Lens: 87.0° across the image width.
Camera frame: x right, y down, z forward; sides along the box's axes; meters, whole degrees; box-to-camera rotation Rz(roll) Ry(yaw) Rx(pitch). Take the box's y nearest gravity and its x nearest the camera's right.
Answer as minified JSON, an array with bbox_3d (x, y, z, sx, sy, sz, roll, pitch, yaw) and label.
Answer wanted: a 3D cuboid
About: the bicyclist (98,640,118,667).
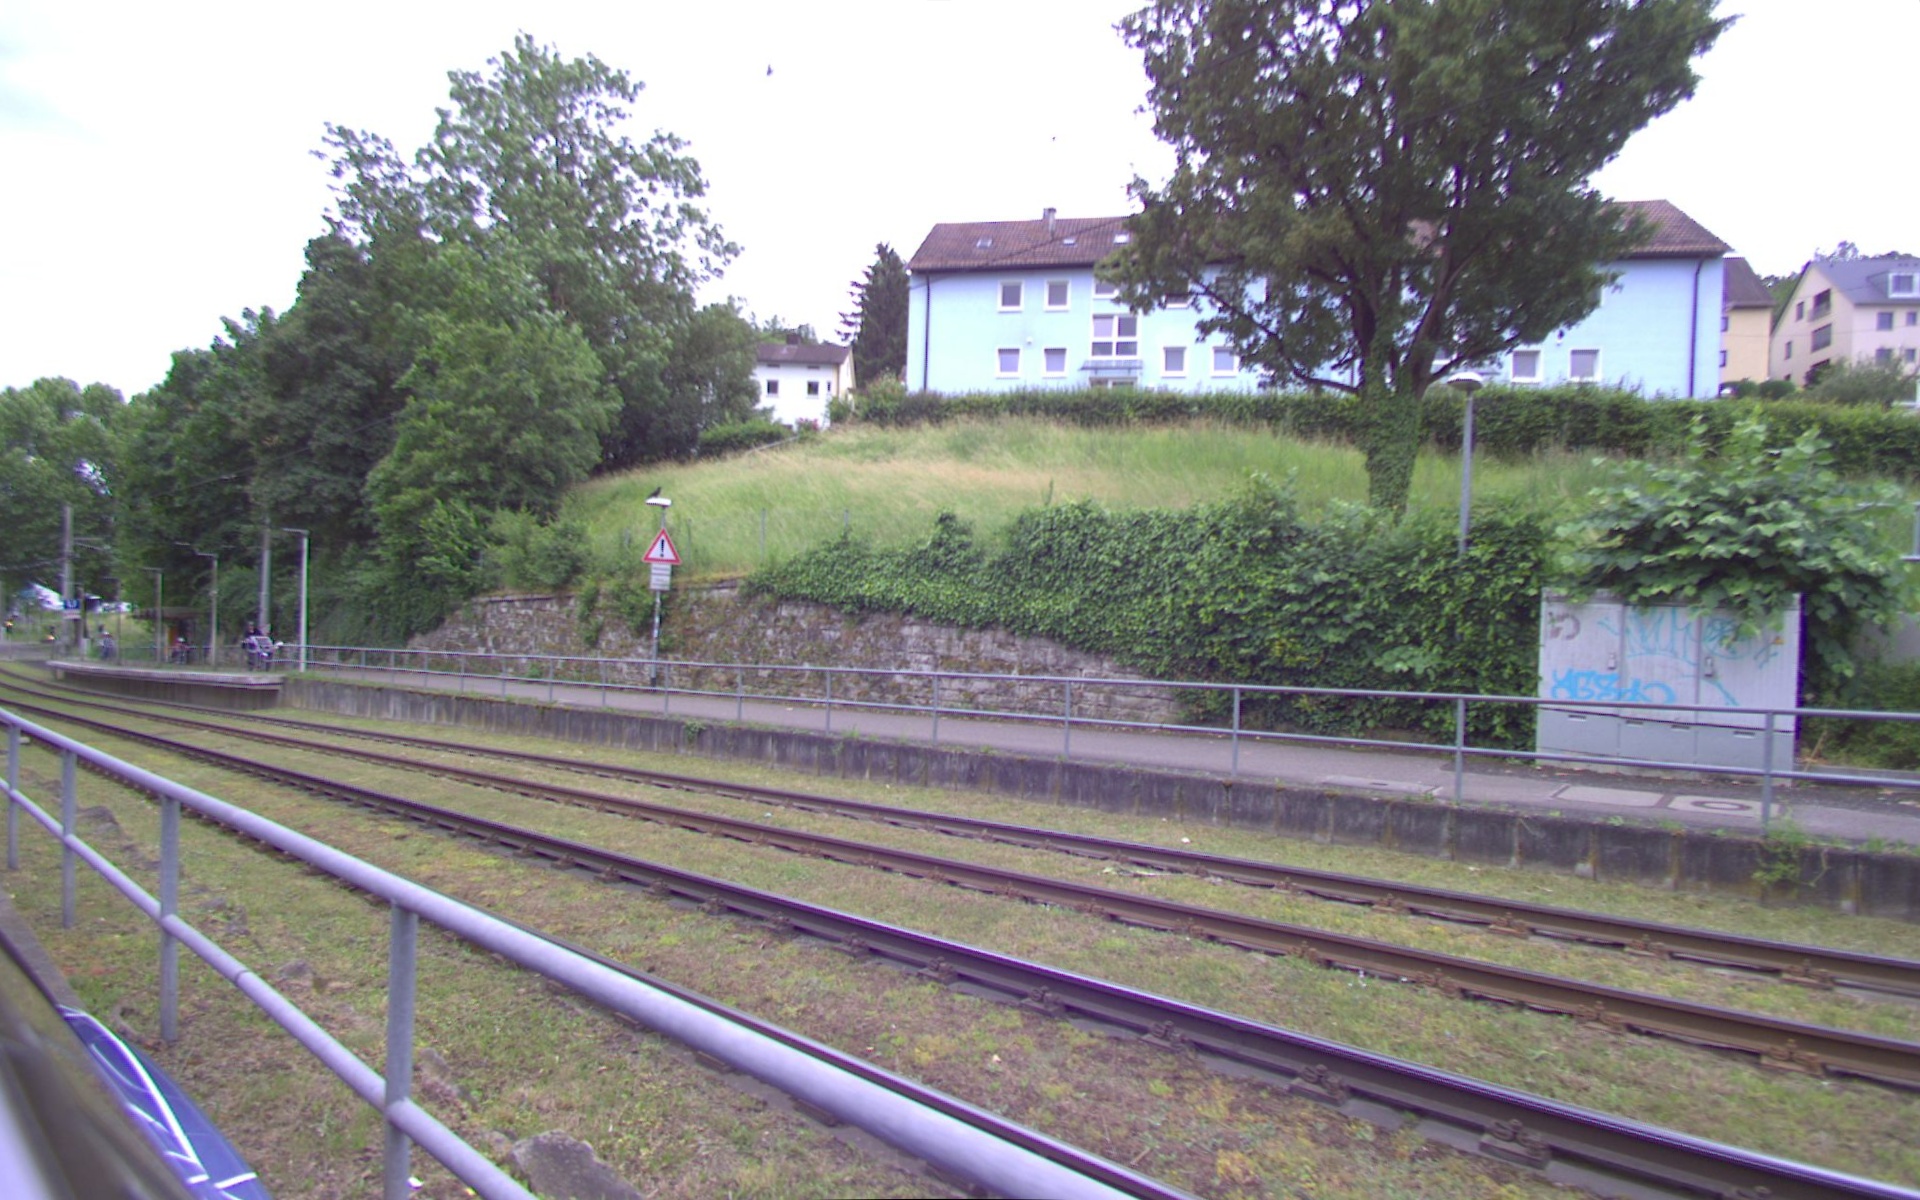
[{"bbox_3d":[-48.415,3.032,57.511,0.839,1.454,0.722,-4,-3,40],"label":"bicyclist"}]

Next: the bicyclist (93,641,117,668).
[{"bbox_3d":[-46.530,2.950,55.076,0.905,1.442,0.739,-4,-3,32],"label":"bicyclist"}]

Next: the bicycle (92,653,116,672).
[{"bbox_3d":[-46.550,3.392,55.008,1.838,0.932,0.474,-4,-3,32],"label":"bicycle"}]

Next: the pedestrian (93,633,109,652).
[{"bbox_3d":[-80.553,3.937,94.874,1.101,1.747,0.695,0,-1,-43],"label":"pedestrian"}]

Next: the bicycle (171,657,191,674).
[{"bbox_3d":[-36.634,3.089,47.587,1.564,0.787,0.445,-3,-3,42],"label":"bicycle"}]

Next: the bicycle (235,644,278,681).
[{"bbox_3d":[-25.067,2.215,36.045,0.742,1.249,2.868,-1,-2,-45],"label":"bicycle"}]

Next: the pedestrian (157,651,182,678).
[{"bbox_3d":[-40.172,3.282,51.458,0.772,1.333,0.813,-1,-1,35],"label":"pedestrian"}]

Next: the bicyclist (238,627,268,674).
[{"bbox_3d":[-25.416,1.827,36.379,1.033,1.641,0.696,-4,-2,44],"label":"bicyclist"}]

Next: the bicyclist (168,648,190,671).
[{"bbox_3d":[-36.725,2.793,47.601,0.744,1.061,0.682,-3,-3,41],"label":"bicyclist"}]

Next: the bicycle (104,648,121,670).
[{"bbox_3d":[-48.167,3.368,57.495,1.939,1.197,0.458,-4,-3,41],"label":"bicycle"}]
